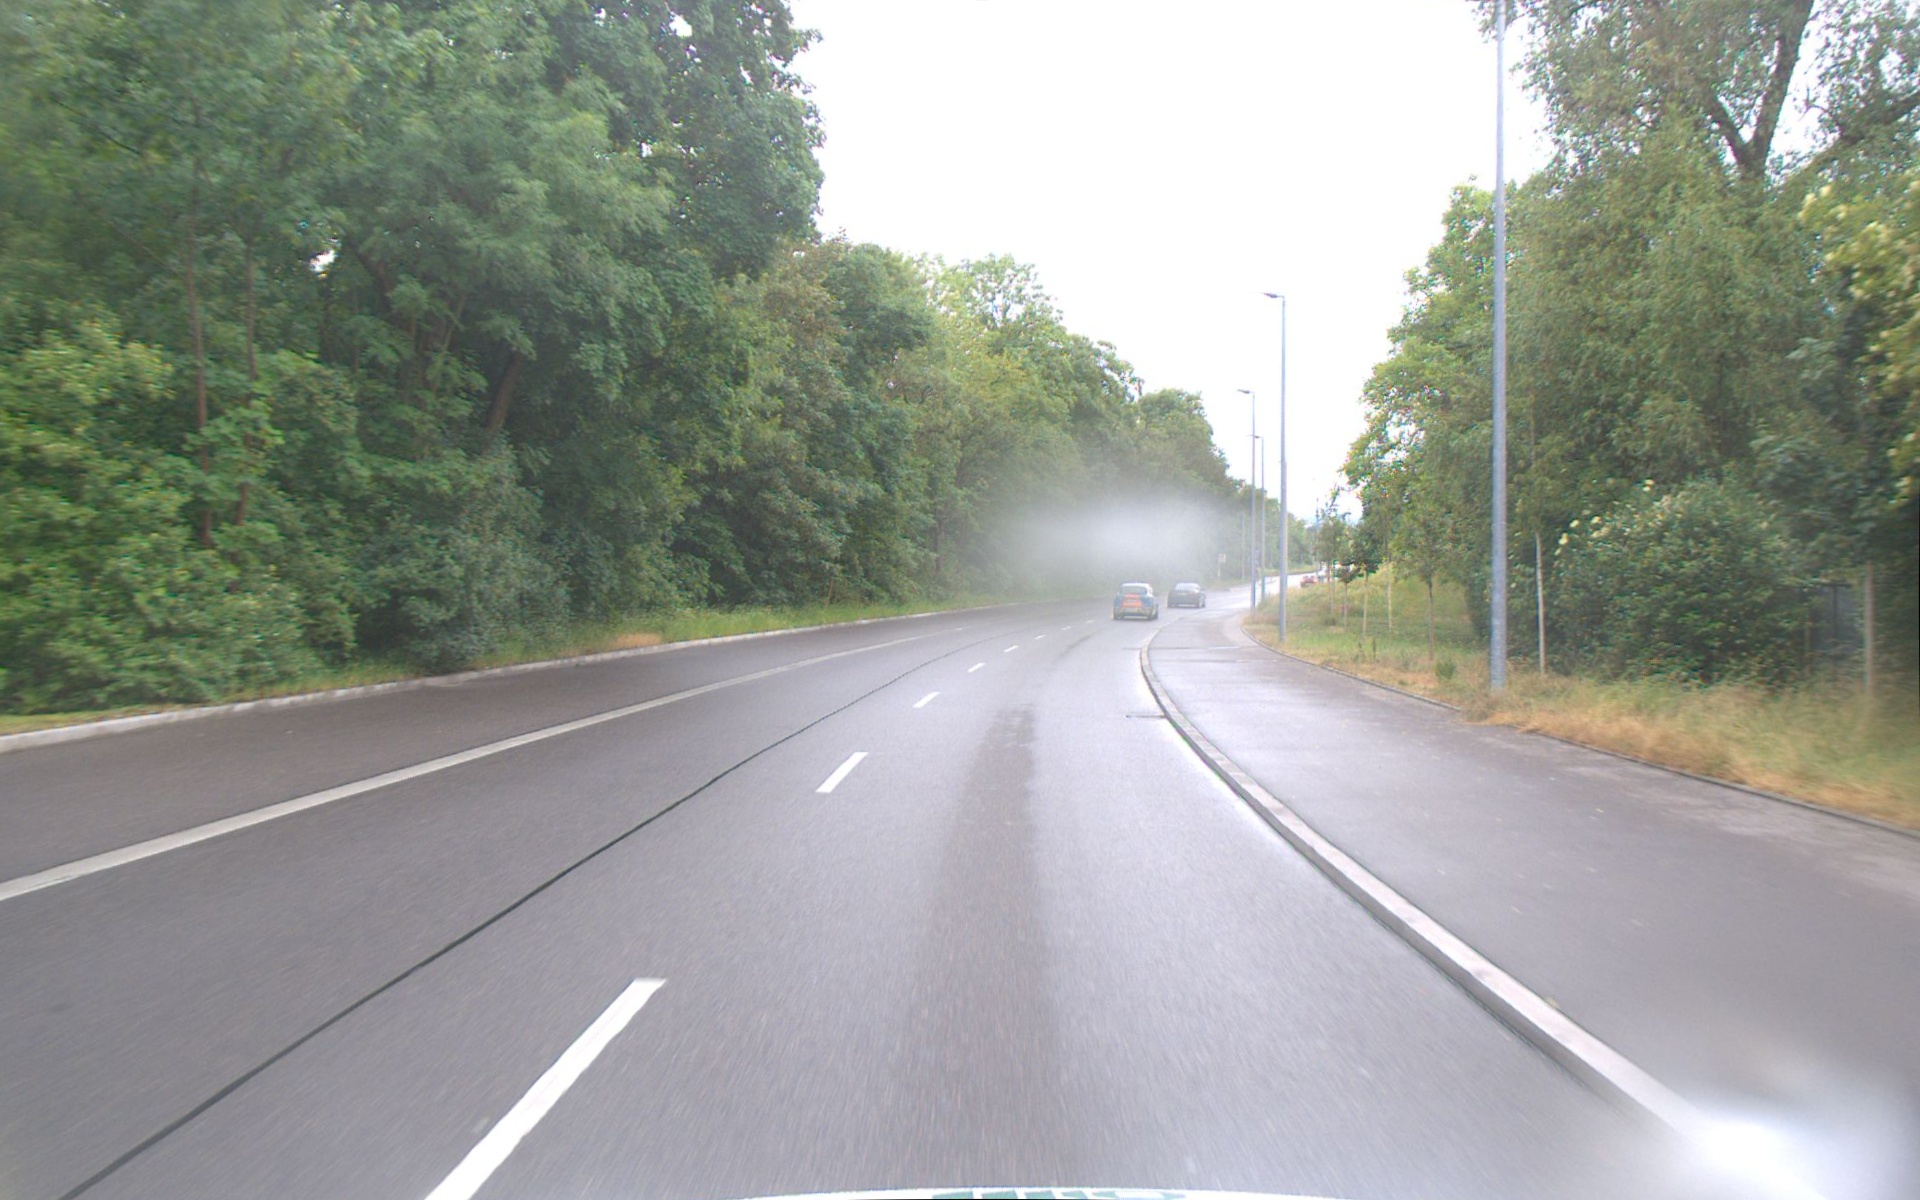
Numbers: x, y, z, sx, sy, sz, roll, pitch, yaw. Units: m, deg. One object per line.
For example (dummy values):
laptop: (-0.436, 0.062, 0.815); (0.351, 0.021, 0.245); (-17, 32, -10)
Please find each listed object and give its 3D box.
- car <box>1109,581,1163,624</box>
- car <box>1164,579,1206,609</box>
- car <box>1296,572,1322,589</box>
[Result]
car: (7.700, 0.082, 72.051); (1.951, 1.718, 4.004); (-1, 2, 11)
car: (12.766, -0.346, 93.698); (1.886, 1.512, 3.803); (-1, 2, 15)
car: (32.885, -1.818, 155.732); (1.952, 1.579, 4.002); (1, 1, 18)
